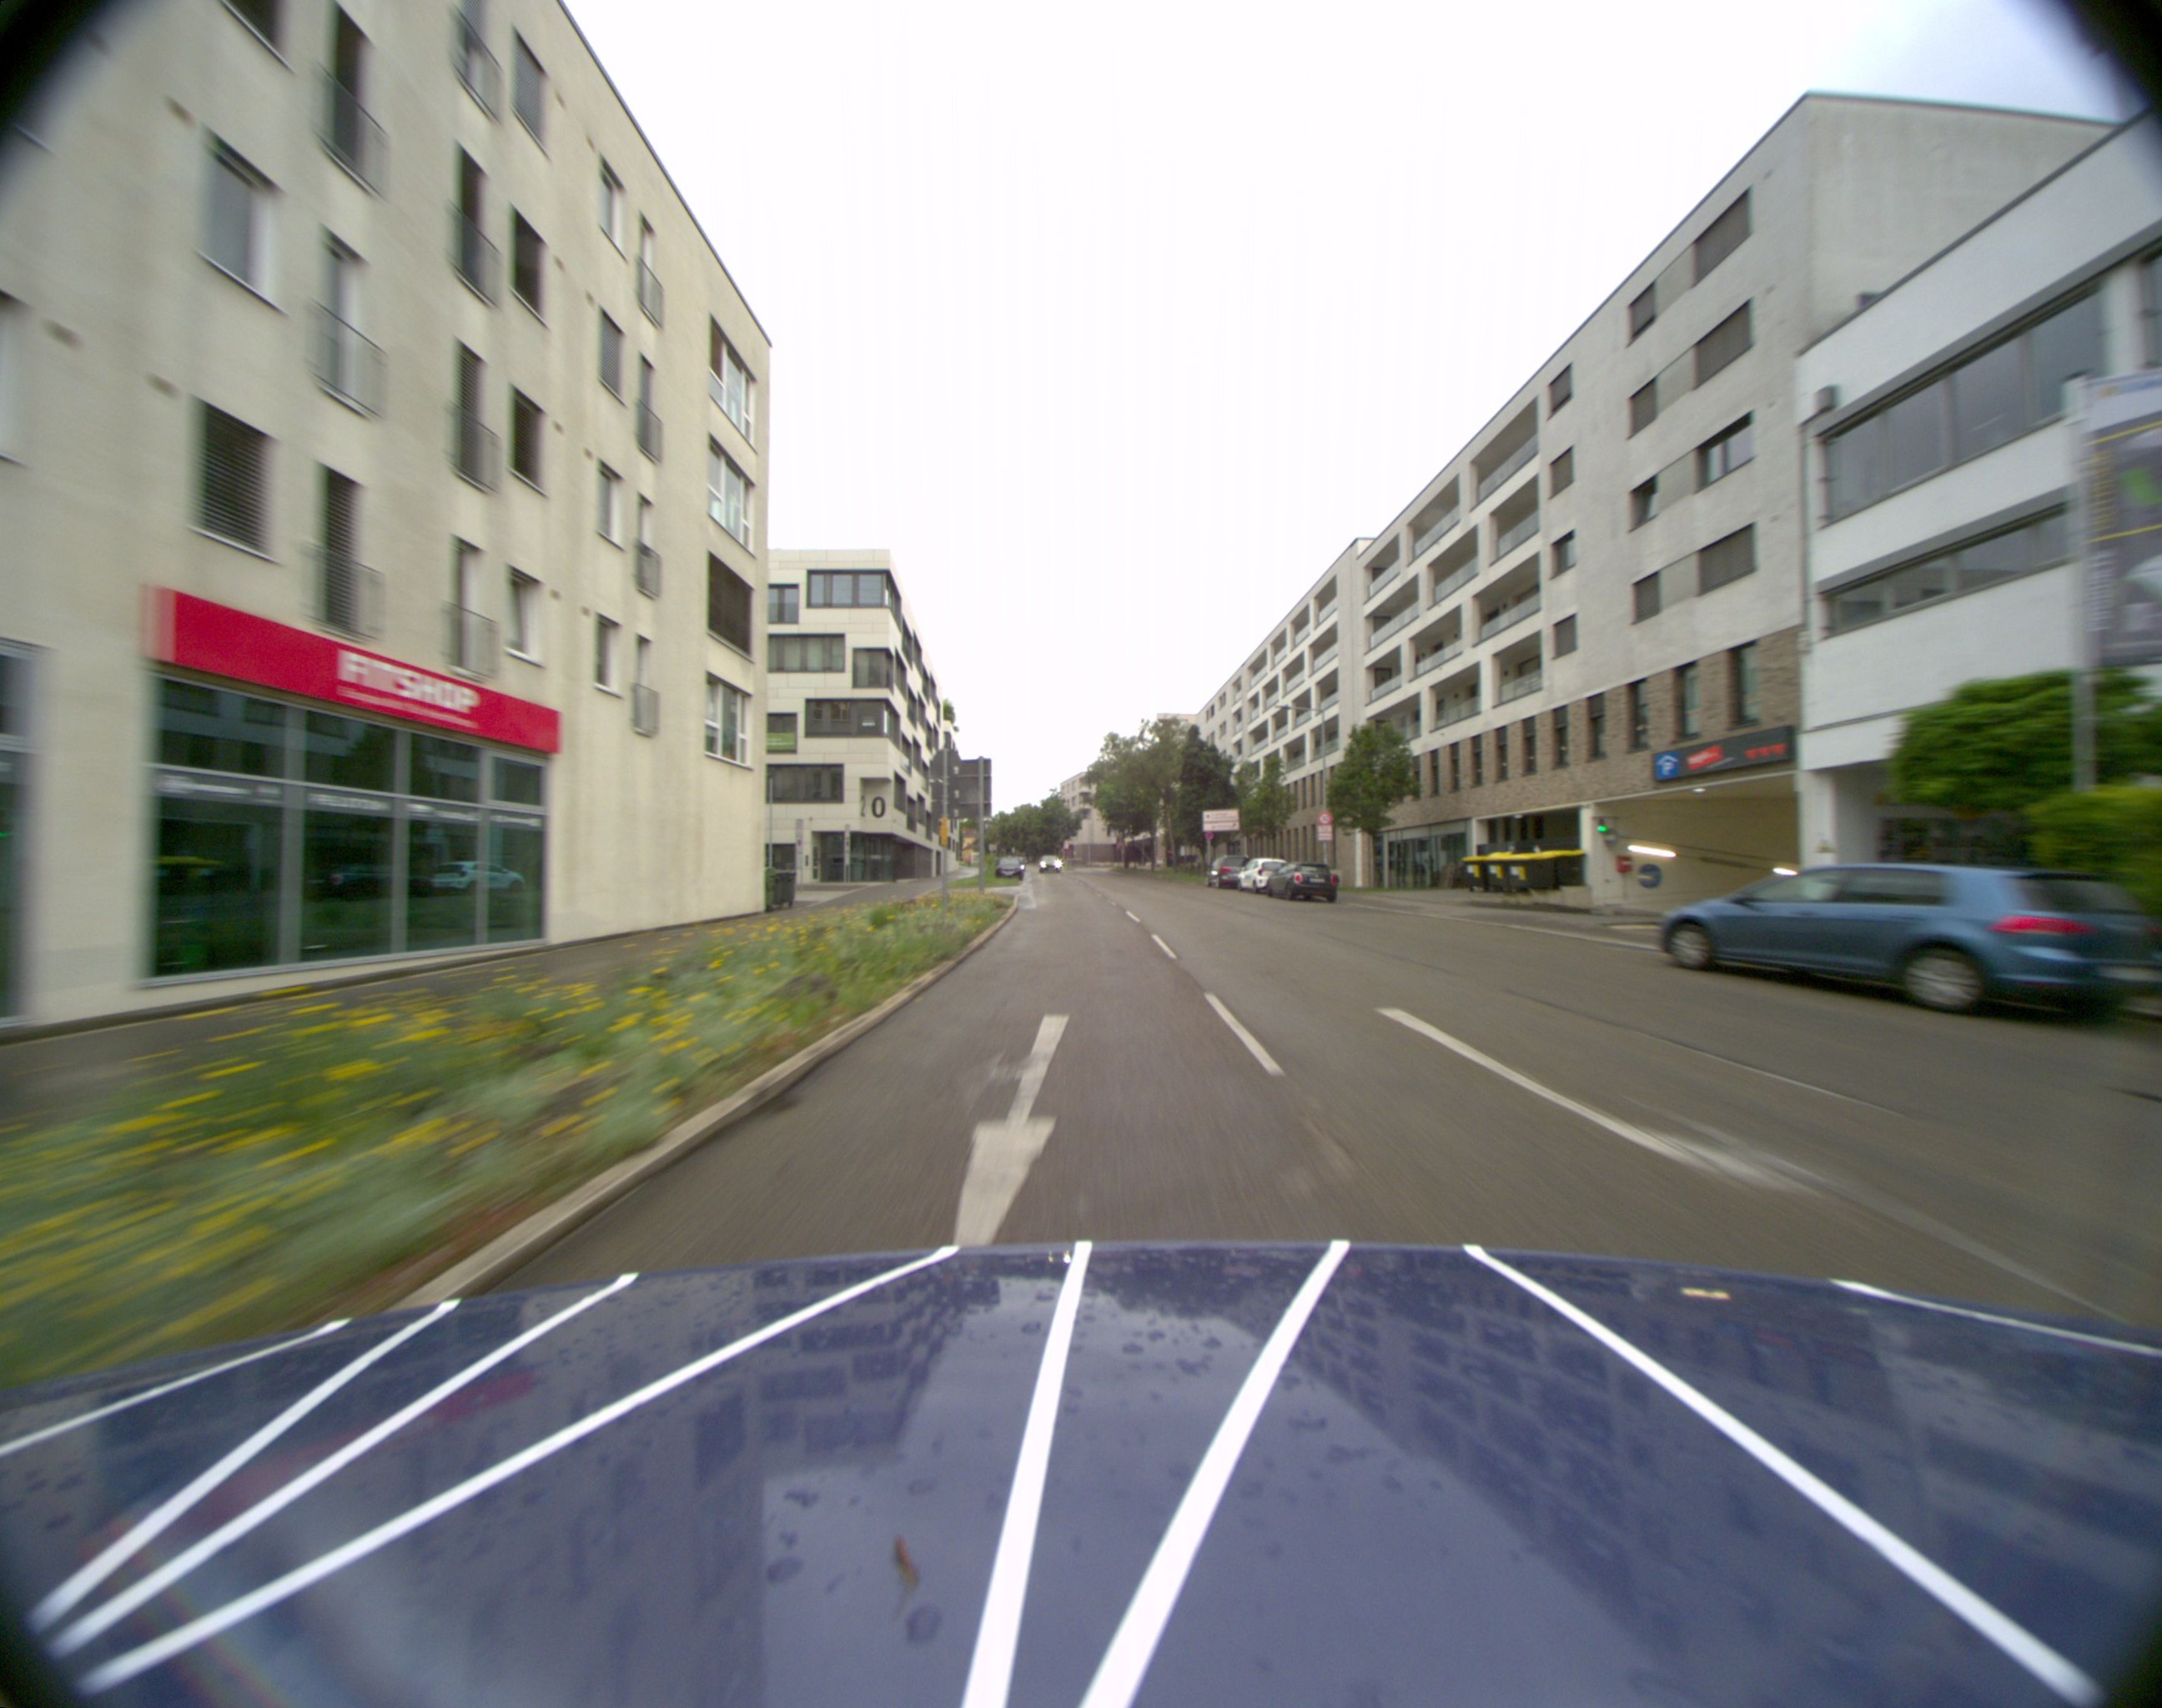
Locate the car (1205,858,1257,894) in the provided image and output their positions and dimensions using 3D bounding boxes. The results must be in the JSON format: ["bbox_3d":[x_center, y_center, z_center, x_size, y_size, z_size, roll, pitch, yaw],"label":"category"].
[{"bbox_3d":[7.449,1.054,38.028,1.630,1.608,3.971,3,0,-2],"label":"car"}]

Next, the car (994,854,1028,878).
[{"bbox_3d":[-4.872,0.818,53.351,1.998,1.477,3.999,-2,1,0],"label":"car"}]

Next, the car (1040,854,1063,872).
[{"bbox_3d":[-2.817,0.814,72.603,1.998,1.565,3.999,-2,1,0],"label":"car"}]

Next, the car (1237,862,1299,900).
[{"bbox_3d":[8.039,1.126,32.949,1.597,1.459,3.421,3,0,-3],"label":"car"}]

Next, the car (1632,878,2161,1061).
[{"bbox_3d":[8.782,1.057,8.562,1.661,1.395,4.267,2,0,-7],"label":"car"}]

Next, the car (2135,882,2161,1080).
[{"bbox_3d":[9.144,1.001,4.506,1.519,1.501,2.980,2,0,-7],"label":"car"}]

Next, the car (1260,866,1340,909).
[{"bbox_3d":[8.086,1.190,28.370,1.662,1.383,3.738,2,0,-4],"label":"car"}]
